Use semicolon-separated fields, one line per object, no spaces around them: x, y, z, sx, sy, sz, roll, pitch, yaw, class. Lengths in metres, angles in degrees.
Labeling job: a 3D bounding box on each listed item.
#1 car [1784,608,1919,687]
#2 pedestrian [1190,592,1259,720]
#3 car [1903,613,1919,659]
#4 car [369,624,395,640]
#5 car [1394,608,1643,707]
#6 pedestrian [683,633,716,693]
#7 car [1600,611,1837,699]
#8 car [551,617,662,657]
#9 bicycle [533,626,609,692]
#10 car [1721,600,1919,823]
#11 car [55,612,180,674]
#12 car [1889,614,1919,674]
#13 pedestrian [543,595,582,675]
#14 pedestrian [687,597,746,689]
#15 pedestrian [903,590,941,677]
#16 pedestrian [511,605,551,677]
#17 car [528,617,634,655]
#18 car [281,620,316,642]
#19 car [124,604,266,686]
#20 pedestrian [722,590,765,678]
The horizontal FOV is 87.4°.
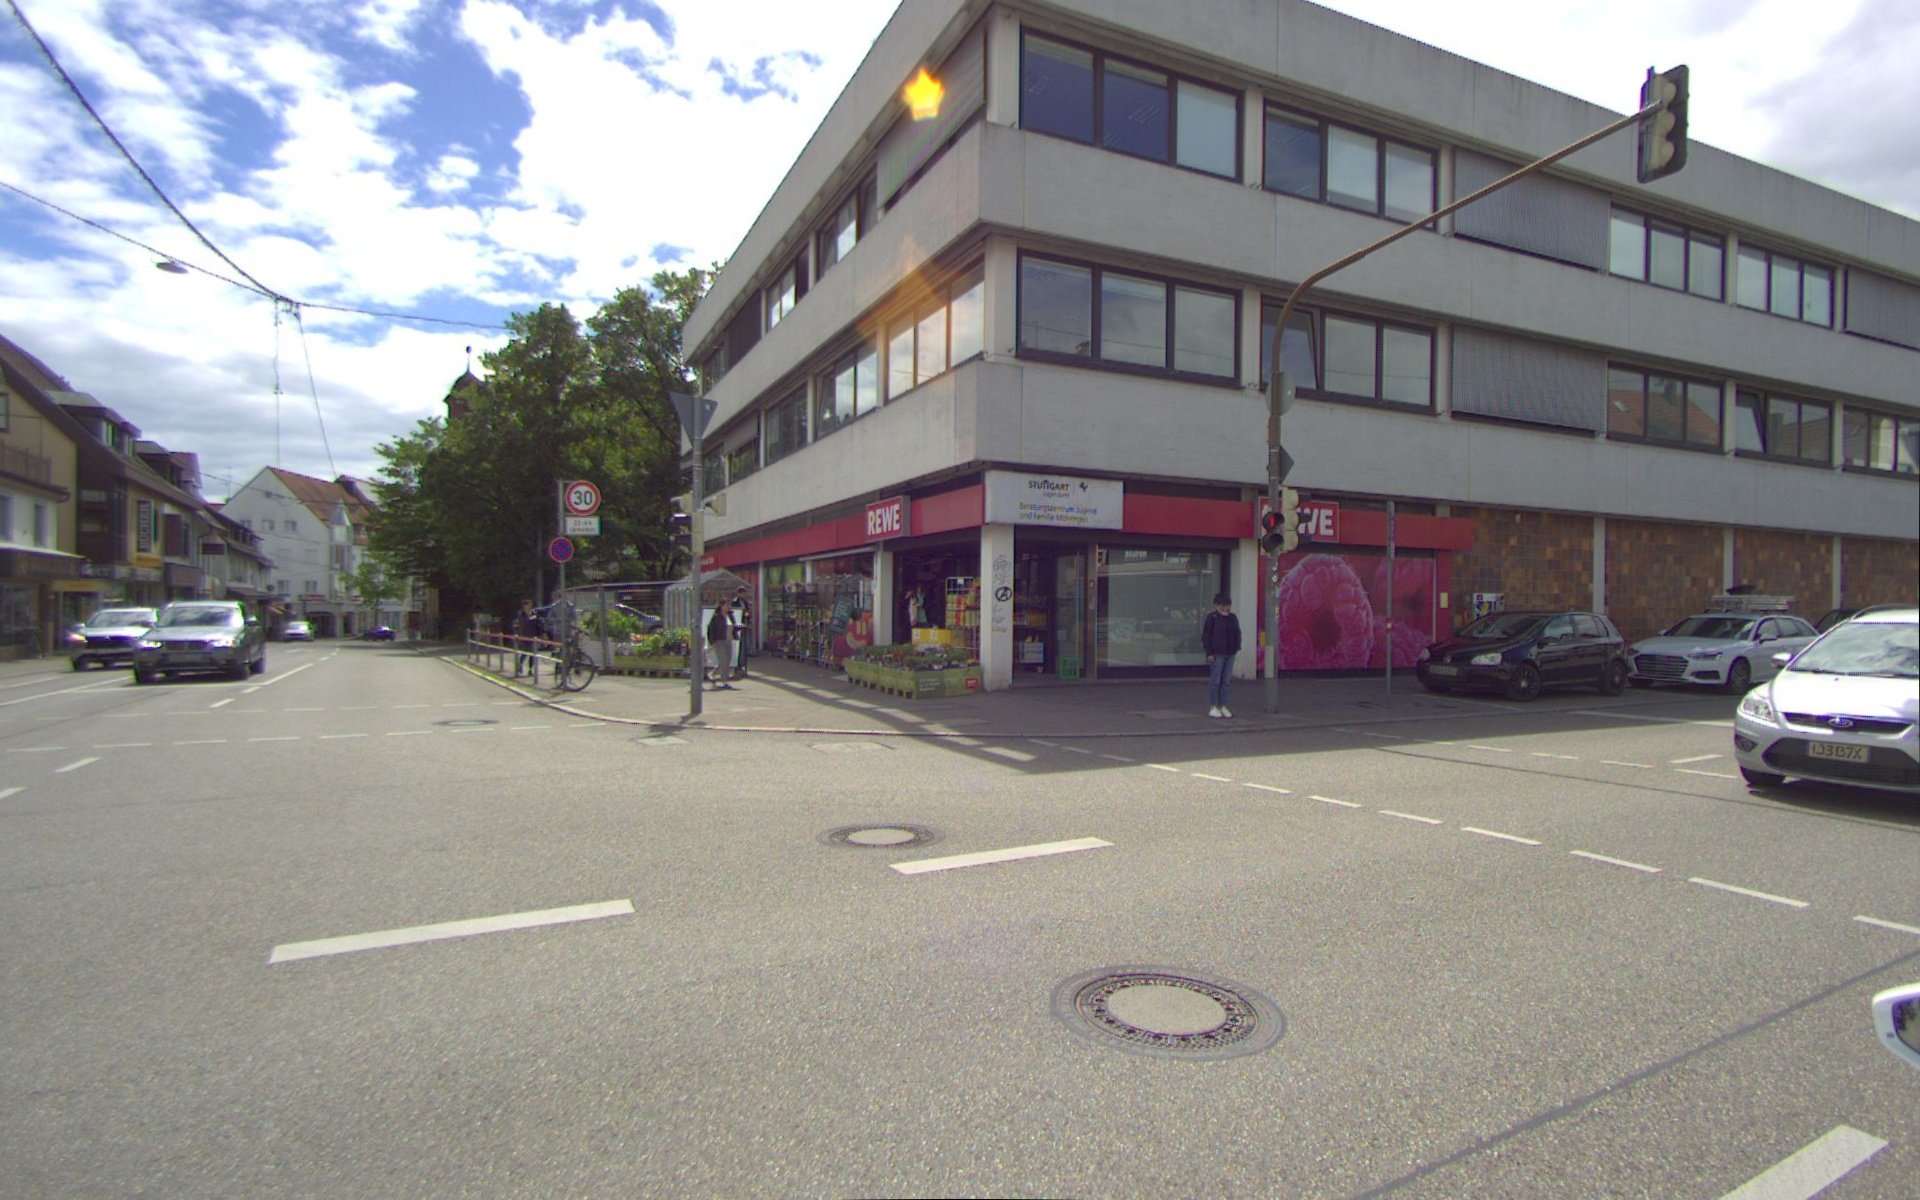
19.774;0.981;22.104;2.909;1.564;1.600;0;2;-30;car
3.553;0.734;13.512;0.652;1.663;0.616;0;0;-29;pedestrian
31.432;1.118;31.374;3.796;1.416;1.898;0;-1;-30;car
-55.714;3.091;96.867;1.477;1.499;3.157;0;-1;-44;car
9.601;0.916;17.252;4.034;1.484;1.778;1;1;-27;car
-4.567;1.100;17.605;0.357;1.018;0.384;2;0;34;pedestrian
14.631;0.987;19.359;4.385;1.463;1.897;0;1;-27;car
-12.706;1.314;36.192;3.670;1.338;1.775;0;-1;-21;car
-7.221;1.074;18.619;0.770;1.157;1.866;1;-2;-40;bicycle
8.398;0.797;8.492;4.164;1.574;1.661;0;0;-30;car
-23.426;1.142;28.097;1.898;1.595;4.296;0;-1;-30;car
25.240;1.065;25.151;3.813;1.445;1.748;0;-1;-28;car
-9.403;0.819;23.735;0.671;1.860;0.727;0;-1;-38;pedestrian
-4.404;0.764;18.199;0.712;1.618;0.695;2;0;33;pedestrian
-0.788;0.697;20.931;0.381;1.762;0.779;2;0;30;pedestrian
-9.706;0.908;22.738;0.671;1.598;0.727;0;-1;-38;pedestrian
-14.341;1.351;38.065;3.670;1.339;1.775;0;-1;-21;car
-49.549;2.311;75.333;1.898;1.595;4.296;0;-1;-30;car
-16.377;0.908;21.702;1.898;1.595;3.969;0;-1;-30;car
-4.530;0.700;21.012;0.612;1.800;0.554;2;0;35;pedestrian
